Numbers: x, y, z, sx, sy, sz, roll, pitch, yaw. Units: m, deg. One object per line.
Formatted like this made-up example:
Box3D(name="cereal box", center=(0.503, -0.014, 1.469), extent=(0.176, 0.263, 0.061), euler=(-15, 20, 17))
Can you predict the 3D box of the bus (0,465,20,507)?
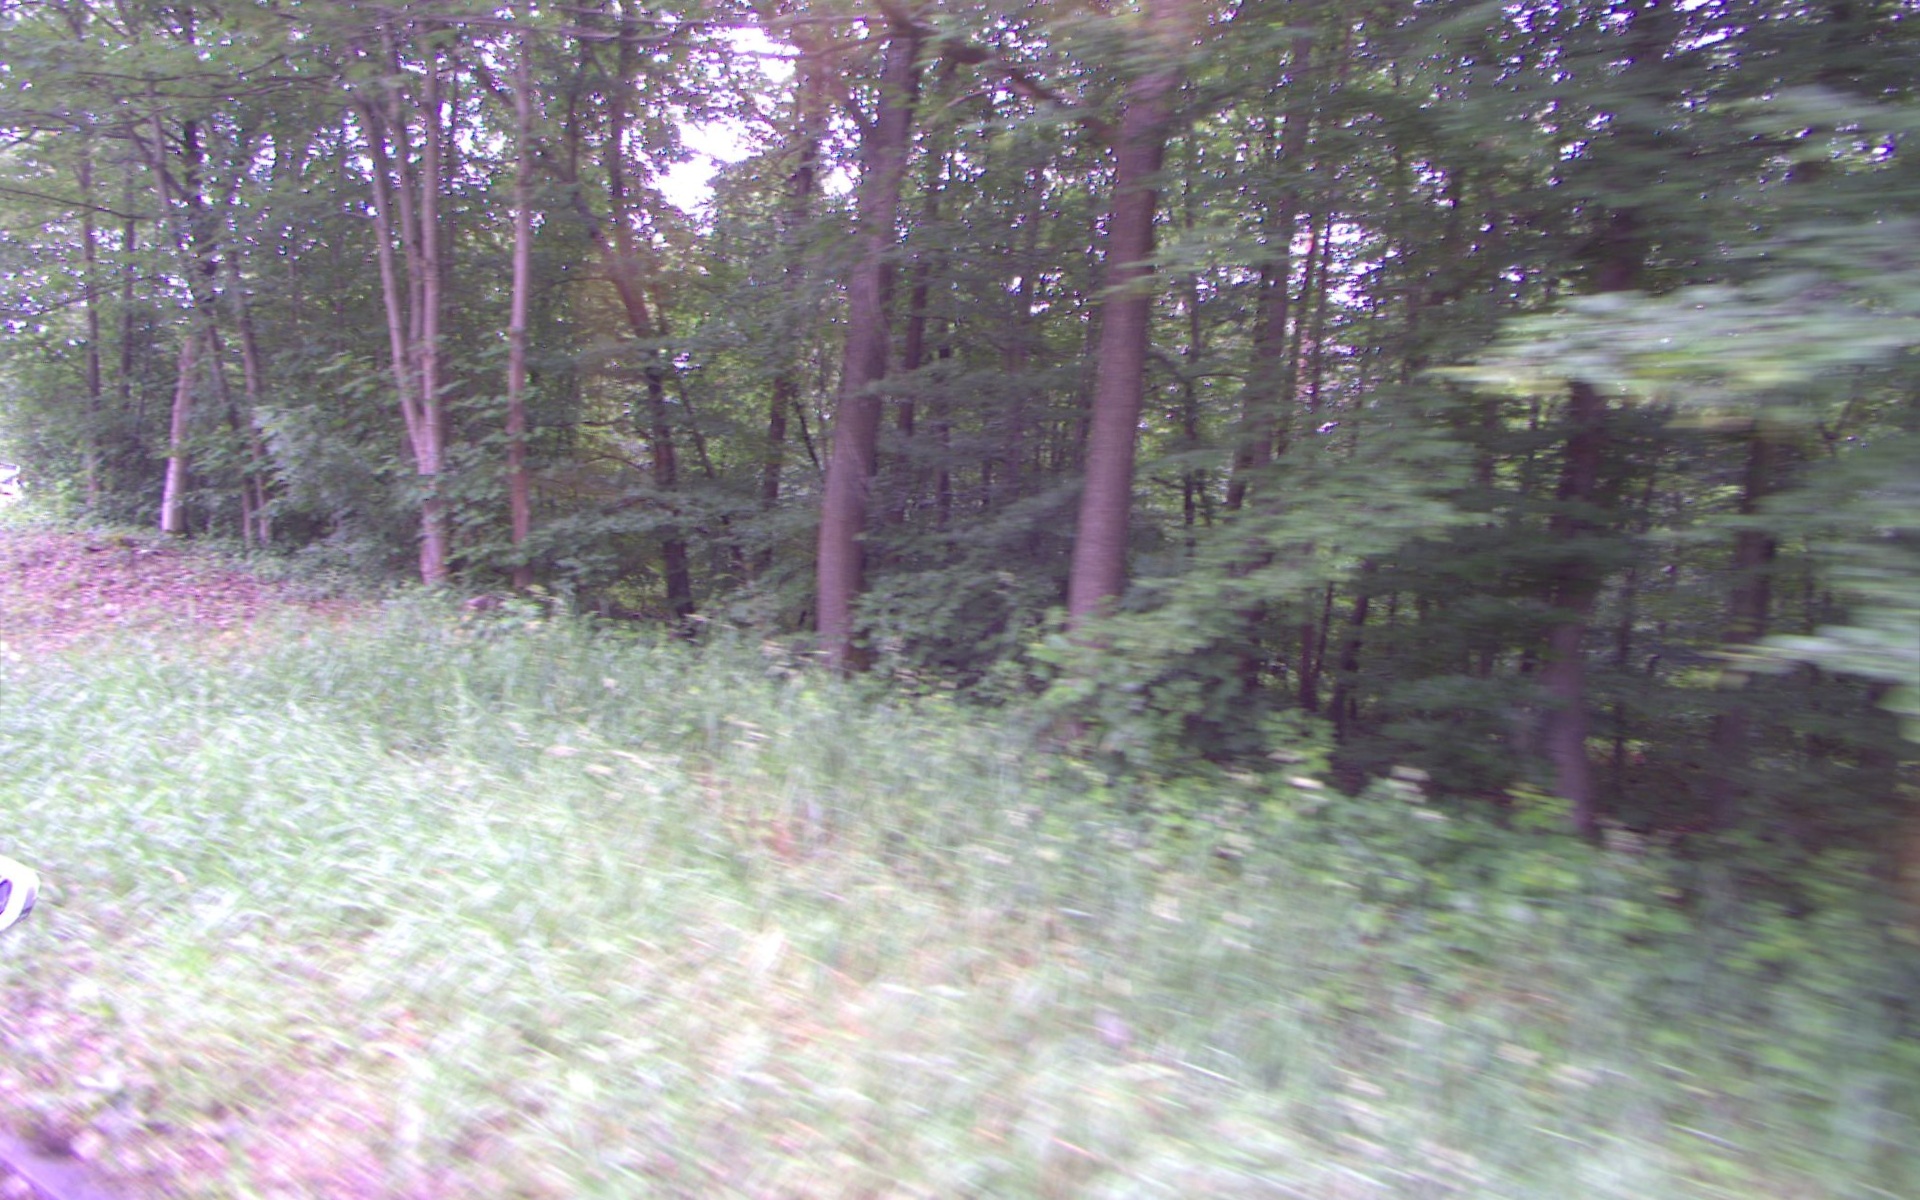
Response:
Box3D(name="bus", center=(-92.937, -11.144, 96.790), extent=(12.633, 3.646, 2.816), euler=(7, 0, 44))
